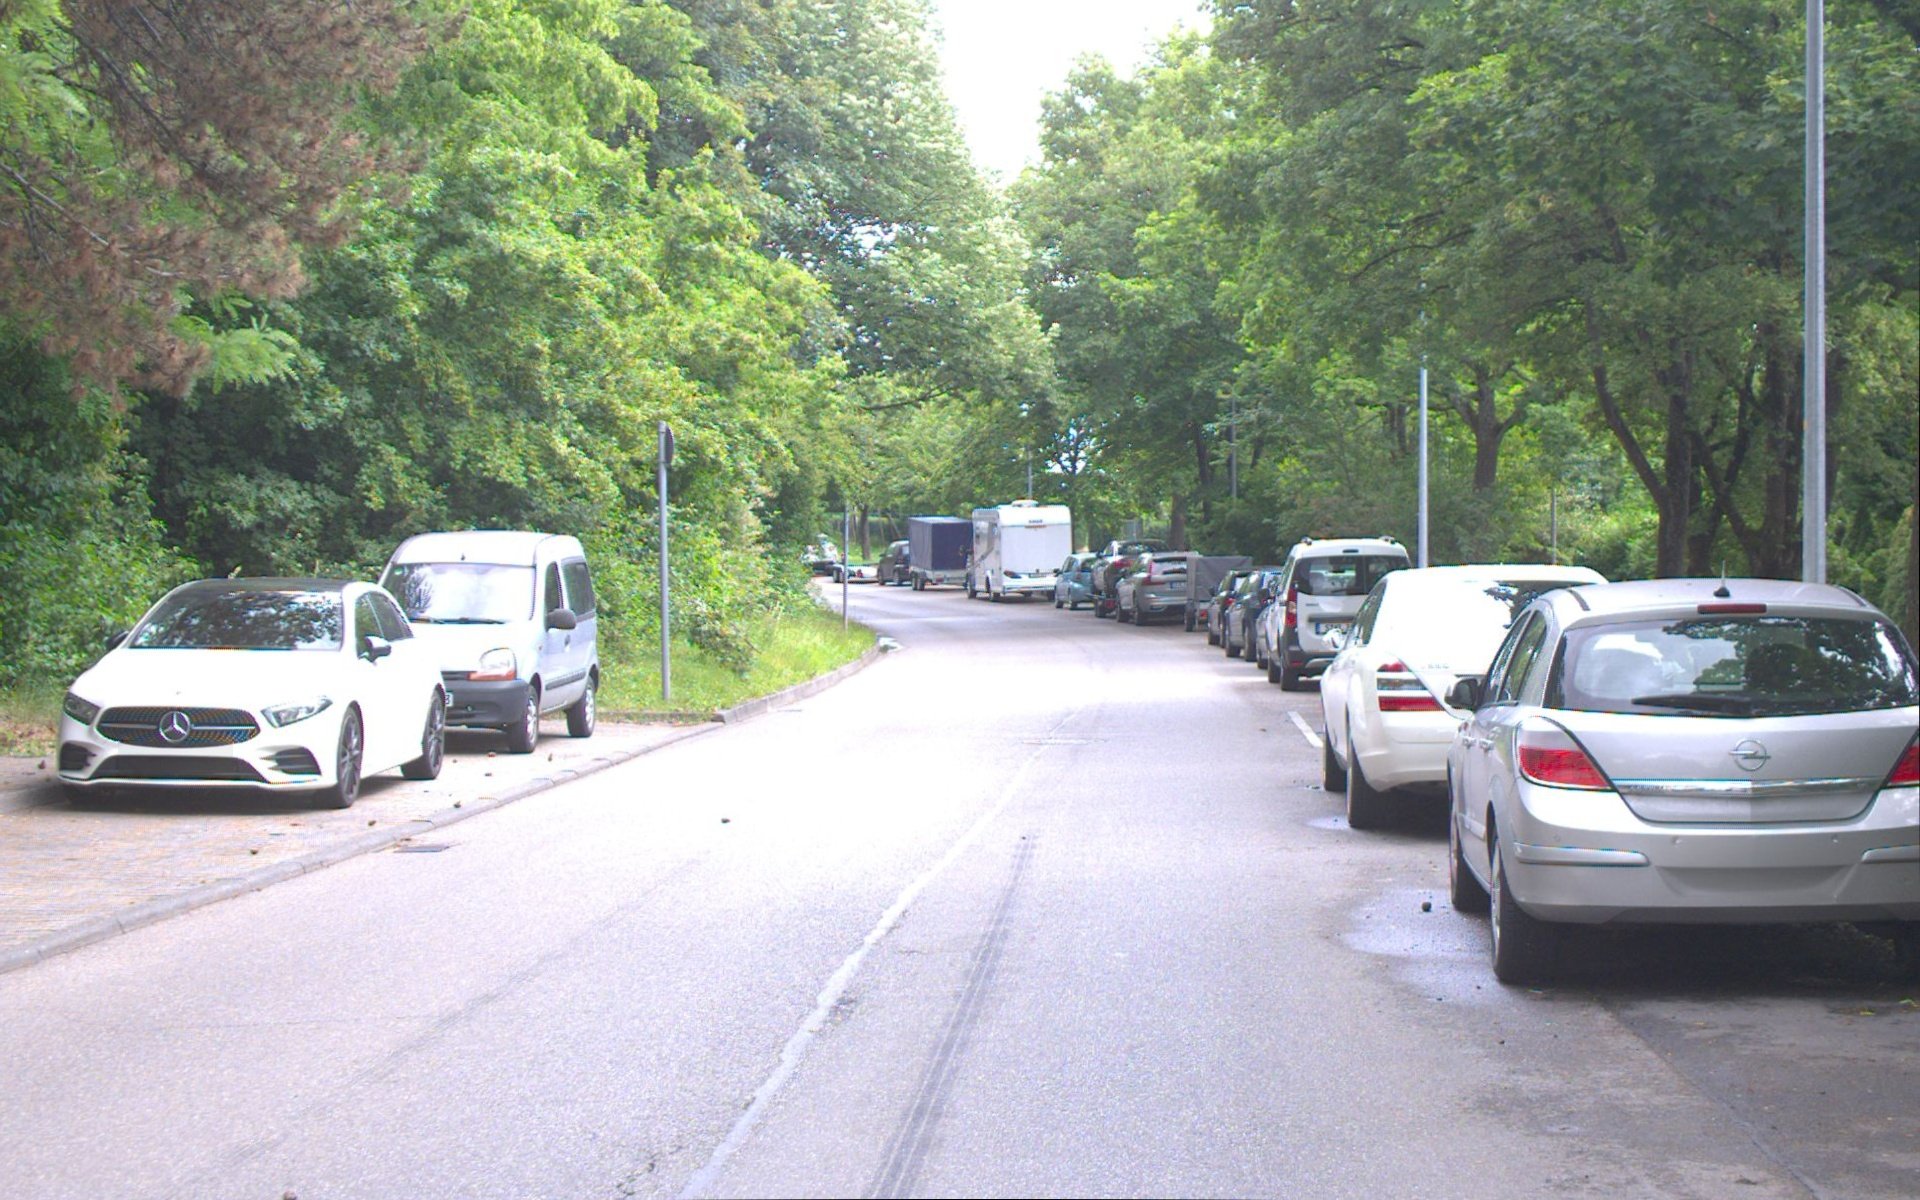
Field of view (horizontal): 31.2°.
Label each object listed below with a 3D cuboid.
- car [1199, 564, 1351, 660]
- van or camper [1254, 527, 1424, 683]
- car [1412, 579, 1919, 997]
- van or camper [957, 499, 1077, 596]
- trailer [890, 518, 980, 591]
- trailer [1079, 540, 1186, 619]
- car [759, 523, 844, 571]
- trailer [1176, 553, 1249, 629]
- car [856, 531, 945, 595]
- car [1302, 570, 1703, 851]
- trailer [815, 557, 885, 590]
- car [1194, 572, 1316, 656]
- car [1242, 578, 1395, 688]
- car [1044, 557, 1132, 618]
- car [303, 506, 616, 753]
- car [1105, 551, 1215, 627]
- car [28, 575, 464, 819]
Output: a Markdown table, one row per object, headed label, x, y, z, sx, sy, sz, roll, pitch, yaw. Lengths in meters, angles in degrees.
| label | x | y | z | sx | sy | sz | roll | pitch | yaw |
| --- | --- | --- | --- | --- | --- | --- | --- | --- | --- |
| car | 5.007 | 0.164 | 55.178 | 1.847 | 1.469 | 4.479 | 0 | 0 | -2 |
| van or camper | 4.627 | 0.089 | 42.484 | 1.802 | 1.832 | 4.320 | 0 | -1 | 2 |
| car | 2.827 | 0.633 | 13.718 | 1.793 | 1.406 | 4.058 | -1 | 0 | 4 |
| van or camper | 1.665 | -1.591 | 104.694 | 2.481 | 2.866 | 6.891 | 0 | 1 | -9 |
| trailer | -0.860 | -1.523 | 115.321 | 1.993 | 2.390 | 4.001 | -1 | 1 | -17 |
| trailer | 4.219 | -0.534 | 85.055 | 1.979 | 1.805 | 5.150 | -1 | 2 | -4 |
| car | -6.168 | -2.059 | 133.504 | 2.034 | 1.797 | 4.084 | -1 | 2 | -22 |
| trailer | 5.309 | -0.200 | 72.464 | 1.278 | 1.579 | 2.460 | 0 | 1 | -1 |
| car | -2.117 | -1.329 | 120.698 | 1.993 | 2.019 | 4.002 | -3 | 3 | -18 |
| car | 3.186 | 0.576 | 21.151 | 1.886 | 1.501 | 5.175 | 0 | 1 | 3 |
| trailer | -3.987 | -0.967 | 124.449 | 1.651 | 1.083 | 4.001 | -3 | 2 | -14 |
| car | 5.258 | 0.233 | 61.672 | 1.720 | 1.448 | 3.918 | 0 | 0 | -2 |
| car | 4.996 | 0.430 | 48.323 | 1.813 | 1.432 | 4.242 | 1 | 1 | 2 |
| car | 3.487 | -0.359 | 94.366 | 1.799 | 1.556 | 3.836 | -1 | 2 | -7 |
| car | -4.204 | 0.186 | 29.489 | 1.721 | 1.915 | 4.104 | 2 | 1 | 5 |
| car | 4.566 | -0.233 | 78.908 | 1.792 | 1.664 | 4.502 | -1 | 0 | -6 |
| car | -4.620 | 0.567 | 22.893 | 1.806 | 1.398 | 4.371 | 2 | 1 | 2 |
